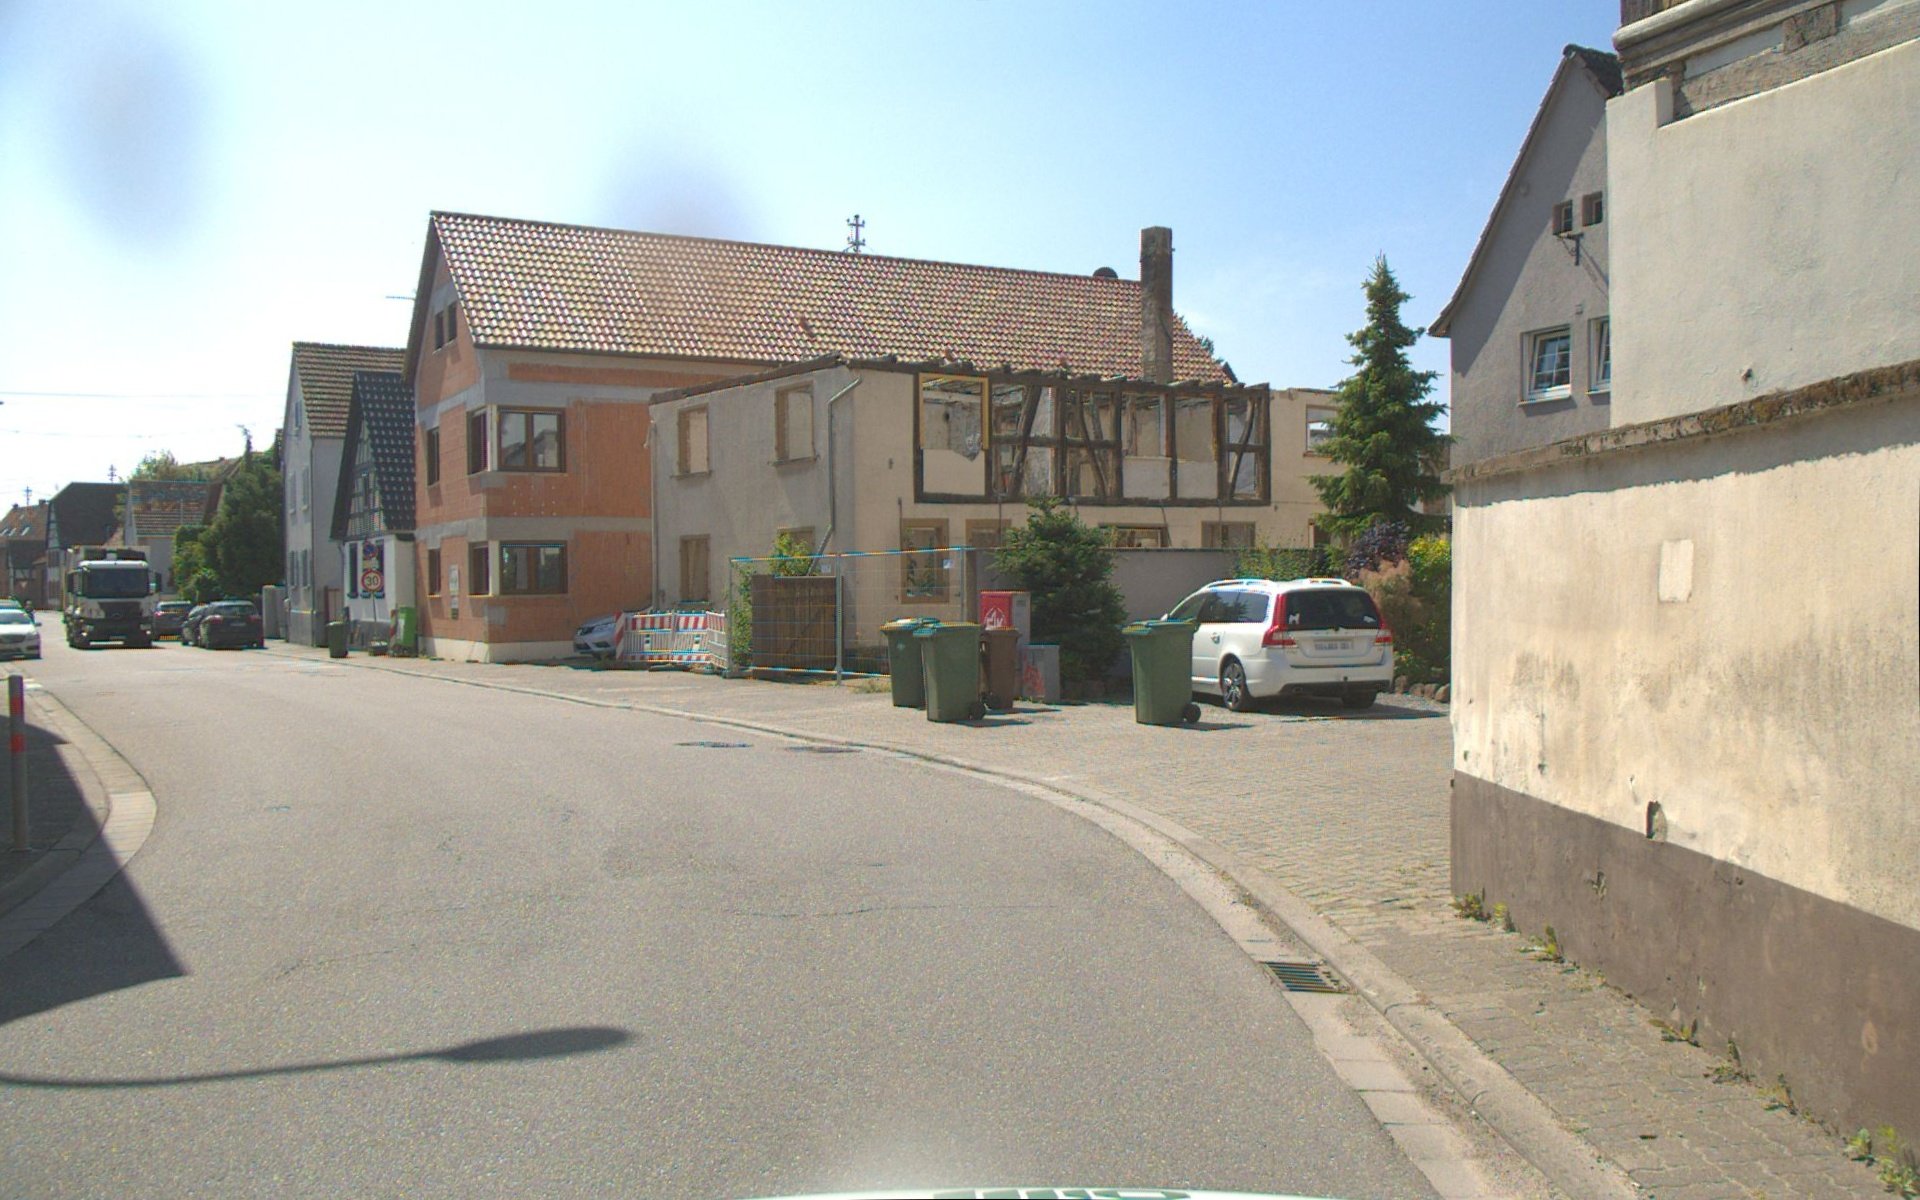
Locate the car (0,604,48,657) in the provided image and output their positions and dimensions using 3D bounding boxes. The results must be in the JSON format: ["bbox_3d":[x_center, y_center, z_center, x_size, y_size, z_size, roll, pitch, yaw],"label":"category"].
[{"bbox_3d":[-28.232,0.882,48.871,1.819,1.489,4.219,-2,1,-34],"label":"car"}]

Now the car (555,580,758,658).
[{"bbox_3d":[-6.722,0.394,36.844,4.058,1.533,1.846,-2,1,-37],"label":"car"}]

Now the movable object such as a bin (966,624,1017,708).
[{"bbox_3d":[0.382,0.791,20.132,0.459,0.987,0.492,-1,1,-24],"label":"movable object such as a bin"}]

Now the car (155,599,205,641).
[{"bbox_3d":[-33.603,0.844,71.211,1.773,1.659,4.321,-2,1,-28],"label":"car"}]

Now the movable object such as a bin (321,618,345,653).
[{"bbox_3d":[-16.958,0.961,44.752,0.529,0.929,0.549,-1,0,-14],"label":"movable object such as a bin"}]

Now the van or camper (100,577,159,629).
[{"bbox_3d":[-45.883,0.146,91.333,2.498,2.744,4.505,-1,0,-32],"label":"van or camper"}]

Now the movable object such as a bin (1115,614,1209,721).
[{"bbox_3d":[2.165,0.709,17.780,0.711,1.100,0.749,-1,1,-26],"label":"movable object such as a bin"}]

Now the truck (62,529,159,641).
[{"bbox_3d":[-31.783,-0.538,61.641,2.667,3.815,10.759,-1,1,-30],"label":"truck"}]

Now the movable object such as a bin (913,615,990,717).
[{"bbox_3d":[-0.105,0.742,18.810,0.677,1.111,0.633,-1,1,-23],"label":"movable object such as a bin"}]

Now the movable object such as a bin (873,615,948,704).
[{"bbox_3d":[-0.625,0.746,21.014,0.657,1.091,0.761,-1,1,26],"label":"movable object such as a bin"}]

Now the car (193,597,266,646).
[{"bbox_3d":[-25.222,0.721,57.044,1.779,1.587,4.583,-1,1,-30],"label":"car"}]

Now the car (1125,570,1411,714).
[{"bbox_3d":[3.667,0.433,20.538,1.781,1.555,4.278,-1,1,-16],"label":"car"}]
